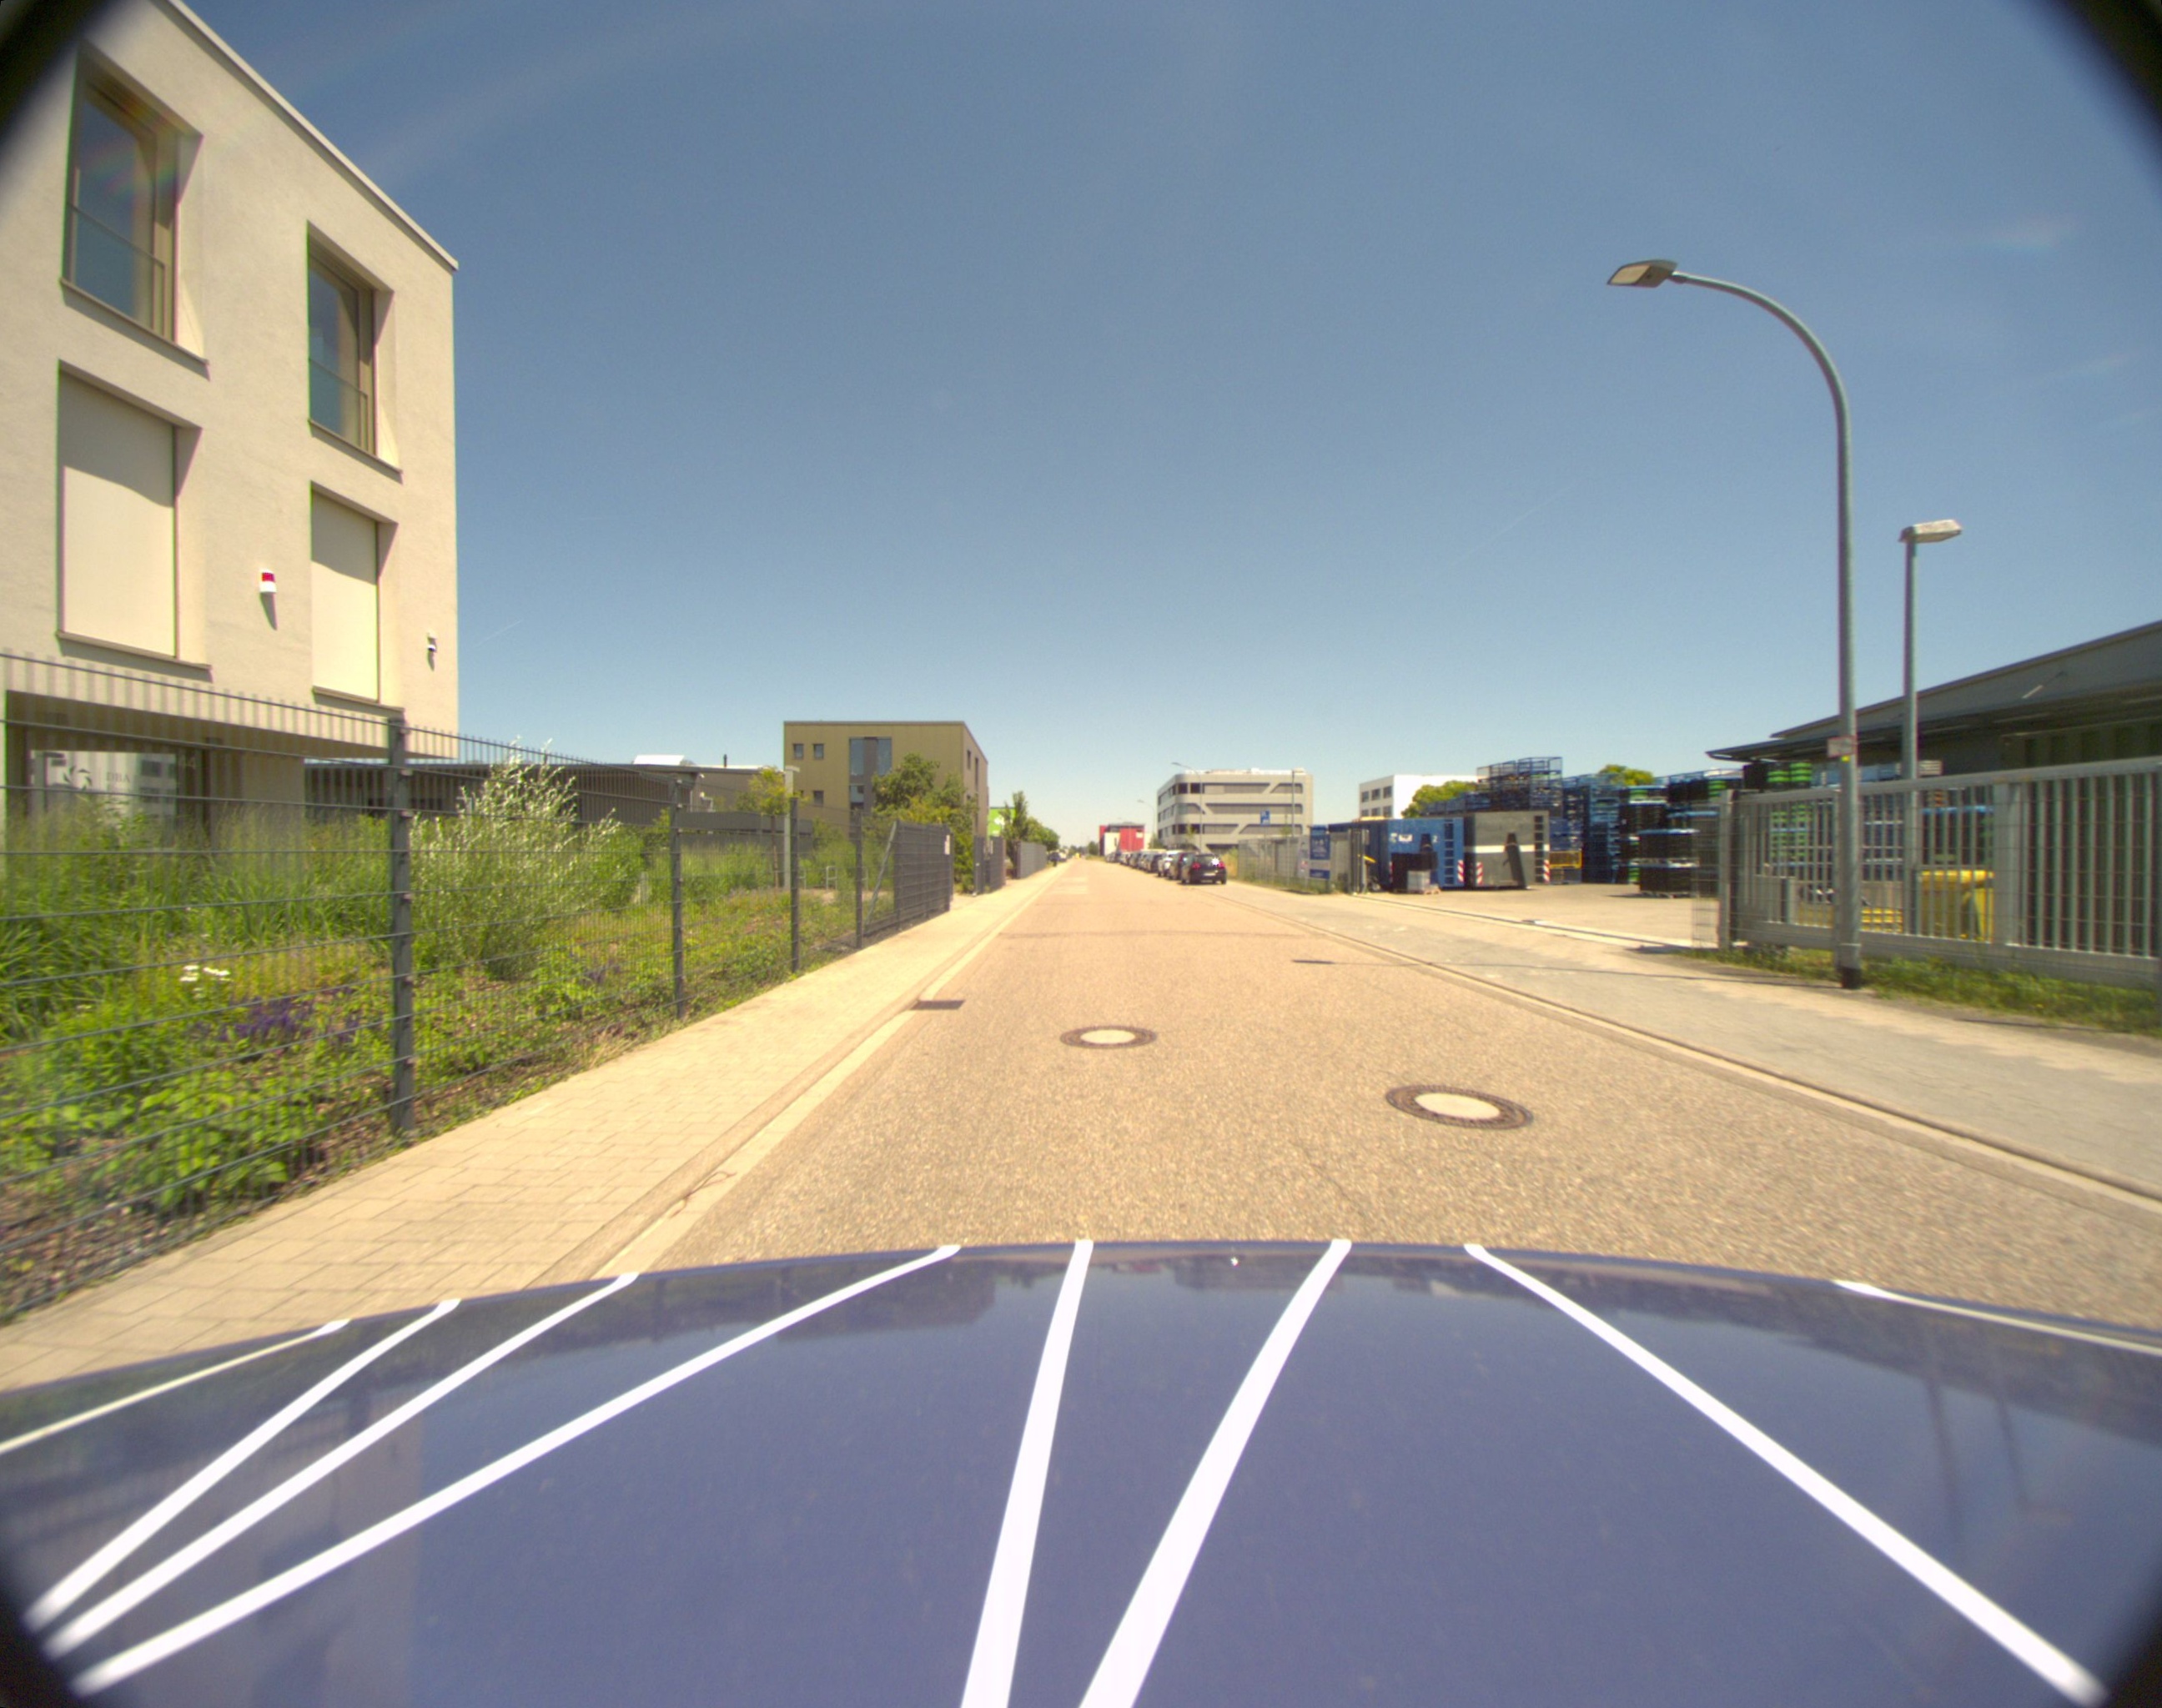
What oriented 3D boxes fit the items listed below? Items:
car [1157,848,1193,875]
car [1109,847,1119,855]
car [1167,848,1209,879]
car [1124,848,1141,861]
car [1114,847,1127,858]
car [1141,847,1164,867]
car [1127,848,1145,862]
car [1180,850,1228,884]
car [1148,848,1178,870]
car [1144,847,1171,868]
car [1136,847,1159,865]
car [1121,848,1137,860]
[{"bbox_3d":[5.827,0.447,47.324,1.772,1.521,3.777,-2,1,1],"label":"car"},{"bbox_3d":[6.278,-0.573,145.852,1.772,1.521,3.777,-2,1,1],"label":"car"},{"bbox_3d":[5.902,0.486,42.204,1.772,1.521,3.777,-2,1,1],"label":"car"},{"bbox_3d":[6.325,0.005,93.834,1.772,1.521,3.777,-2,1,1],"label":"car"},{"bbox_3d":[6.187,-0.263,118.416,1.772,1.521,3.777,-2,1,1],"label":"car"},{"bbox_3d":[6.290,0.245,67.247,1.660,1.573,3.777,-2,1,1],"label":"car"},{"bbox_3d":[6.221,0.098,85.864,1.772,1.521,3.777,-2,1,1],"label":"car"},{"bbox_3d":[5.828,0.574,36.286,1.695,1.481,3.660,-2,1,1],"label":"car"},{"bbox_3d":[5.993,0.370,56.105,1.772,1.462,3.777,-3,1,1],"label":"car"},{"bbox_3d":[6.260,0.261,62.470,1.772,1.521,3.777,-2,1,1],"label":"car"},{"bbox_3d":[6.274,0.156,71.879,1.772,1.521,3.777,-2,1,1],"label":"car"},{"bbox_3d":[6.232,-0.042,98.371,1.772,1.521,3.777,-2,1,1],"label":"car"}]
